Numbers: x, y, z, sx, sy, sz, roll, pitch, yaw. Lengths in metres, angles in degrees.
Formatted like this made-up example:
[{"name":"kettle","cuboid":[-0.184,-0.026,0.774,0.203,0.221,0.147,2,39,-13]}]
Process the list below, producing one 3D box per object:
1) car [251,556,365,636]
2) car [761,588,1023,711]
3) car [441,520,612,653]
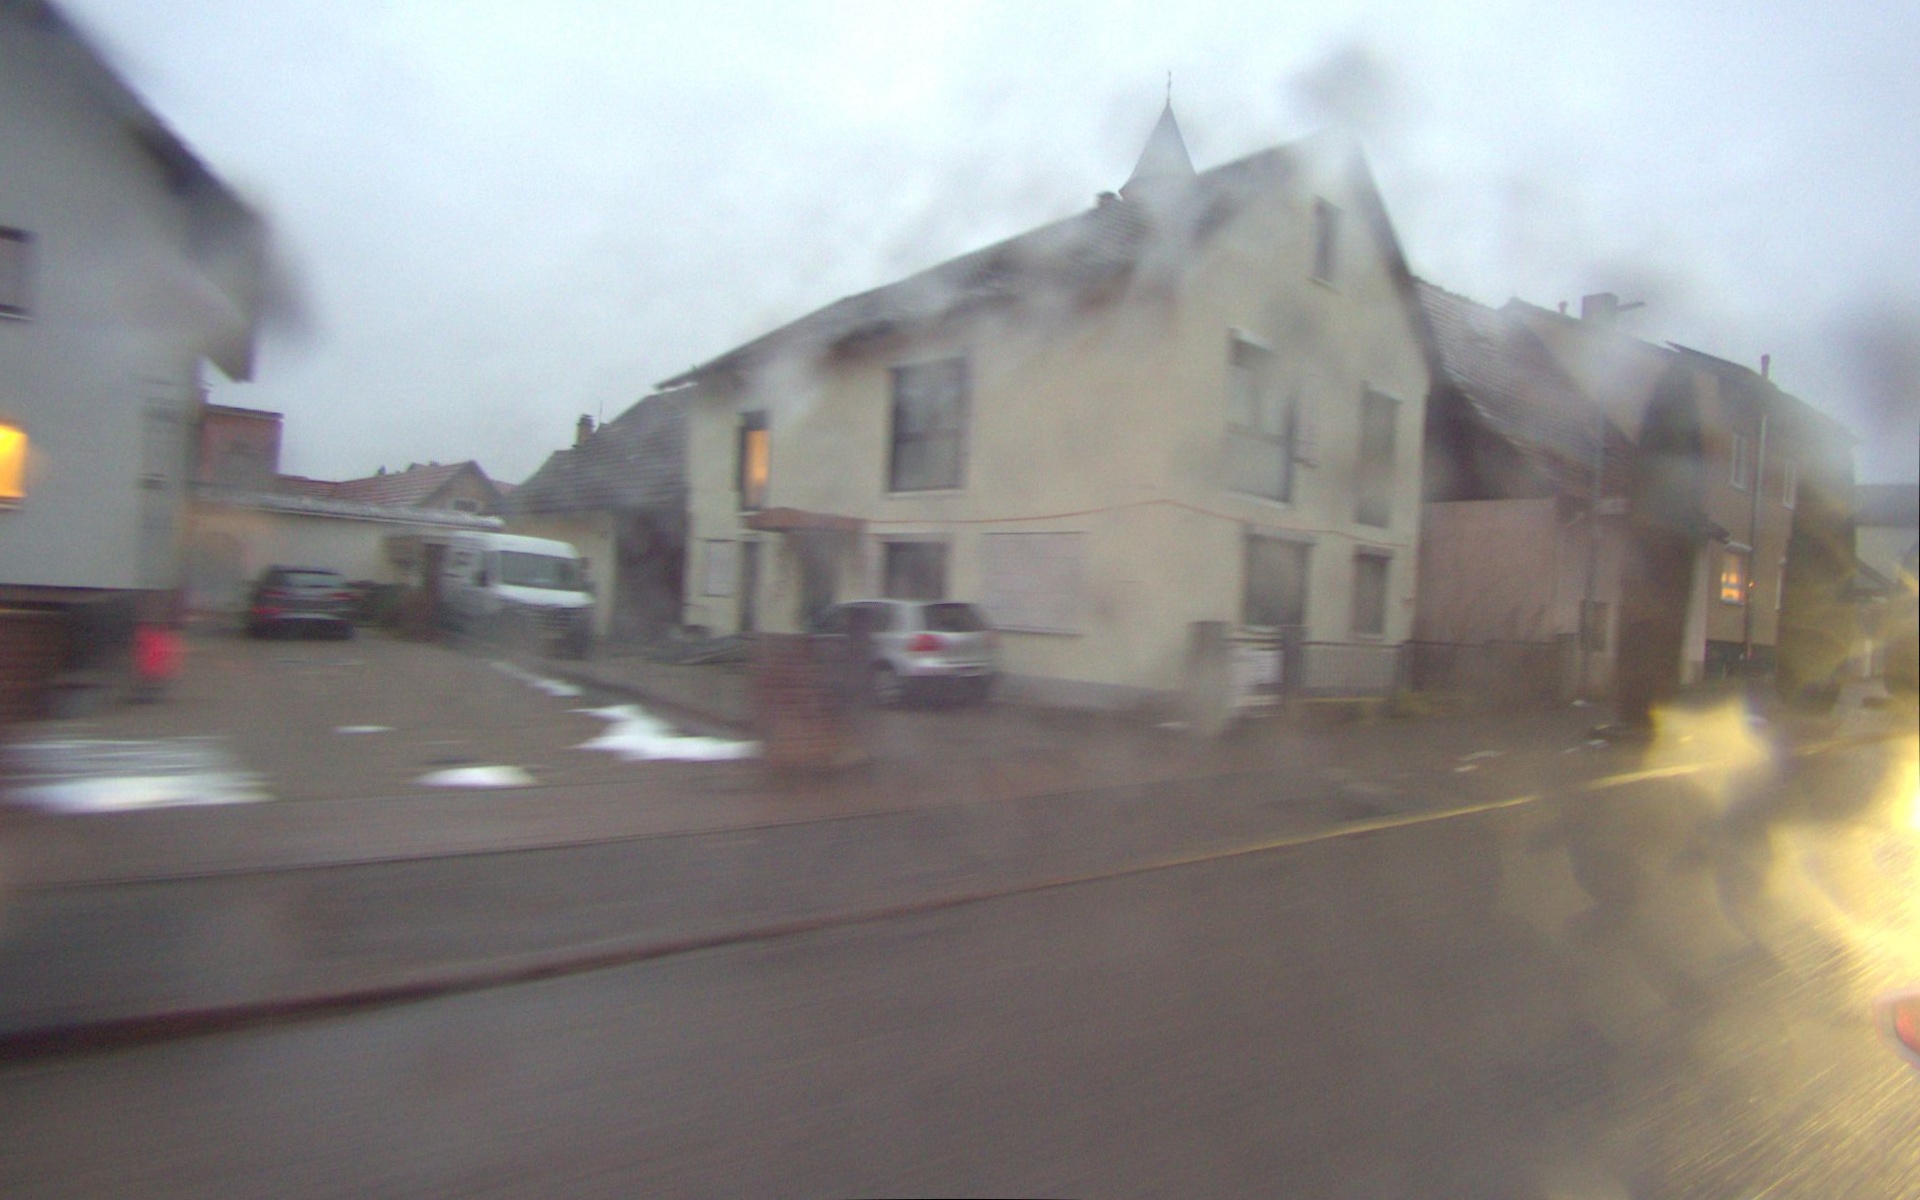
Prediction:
[{"name":"car","cuboid":[-13.686,-0.101,20.986,1.803,1.506,3.959,2,0,-36]},{"name":"car","cuboid":[-1.114,0.627,14.720,1.806,1.482,3.952,2,0,-41]},{"name":"car","cuboid":[-9.698,-0.305,22.193,2.193,2.574,5.295,2,1,-38]}]
